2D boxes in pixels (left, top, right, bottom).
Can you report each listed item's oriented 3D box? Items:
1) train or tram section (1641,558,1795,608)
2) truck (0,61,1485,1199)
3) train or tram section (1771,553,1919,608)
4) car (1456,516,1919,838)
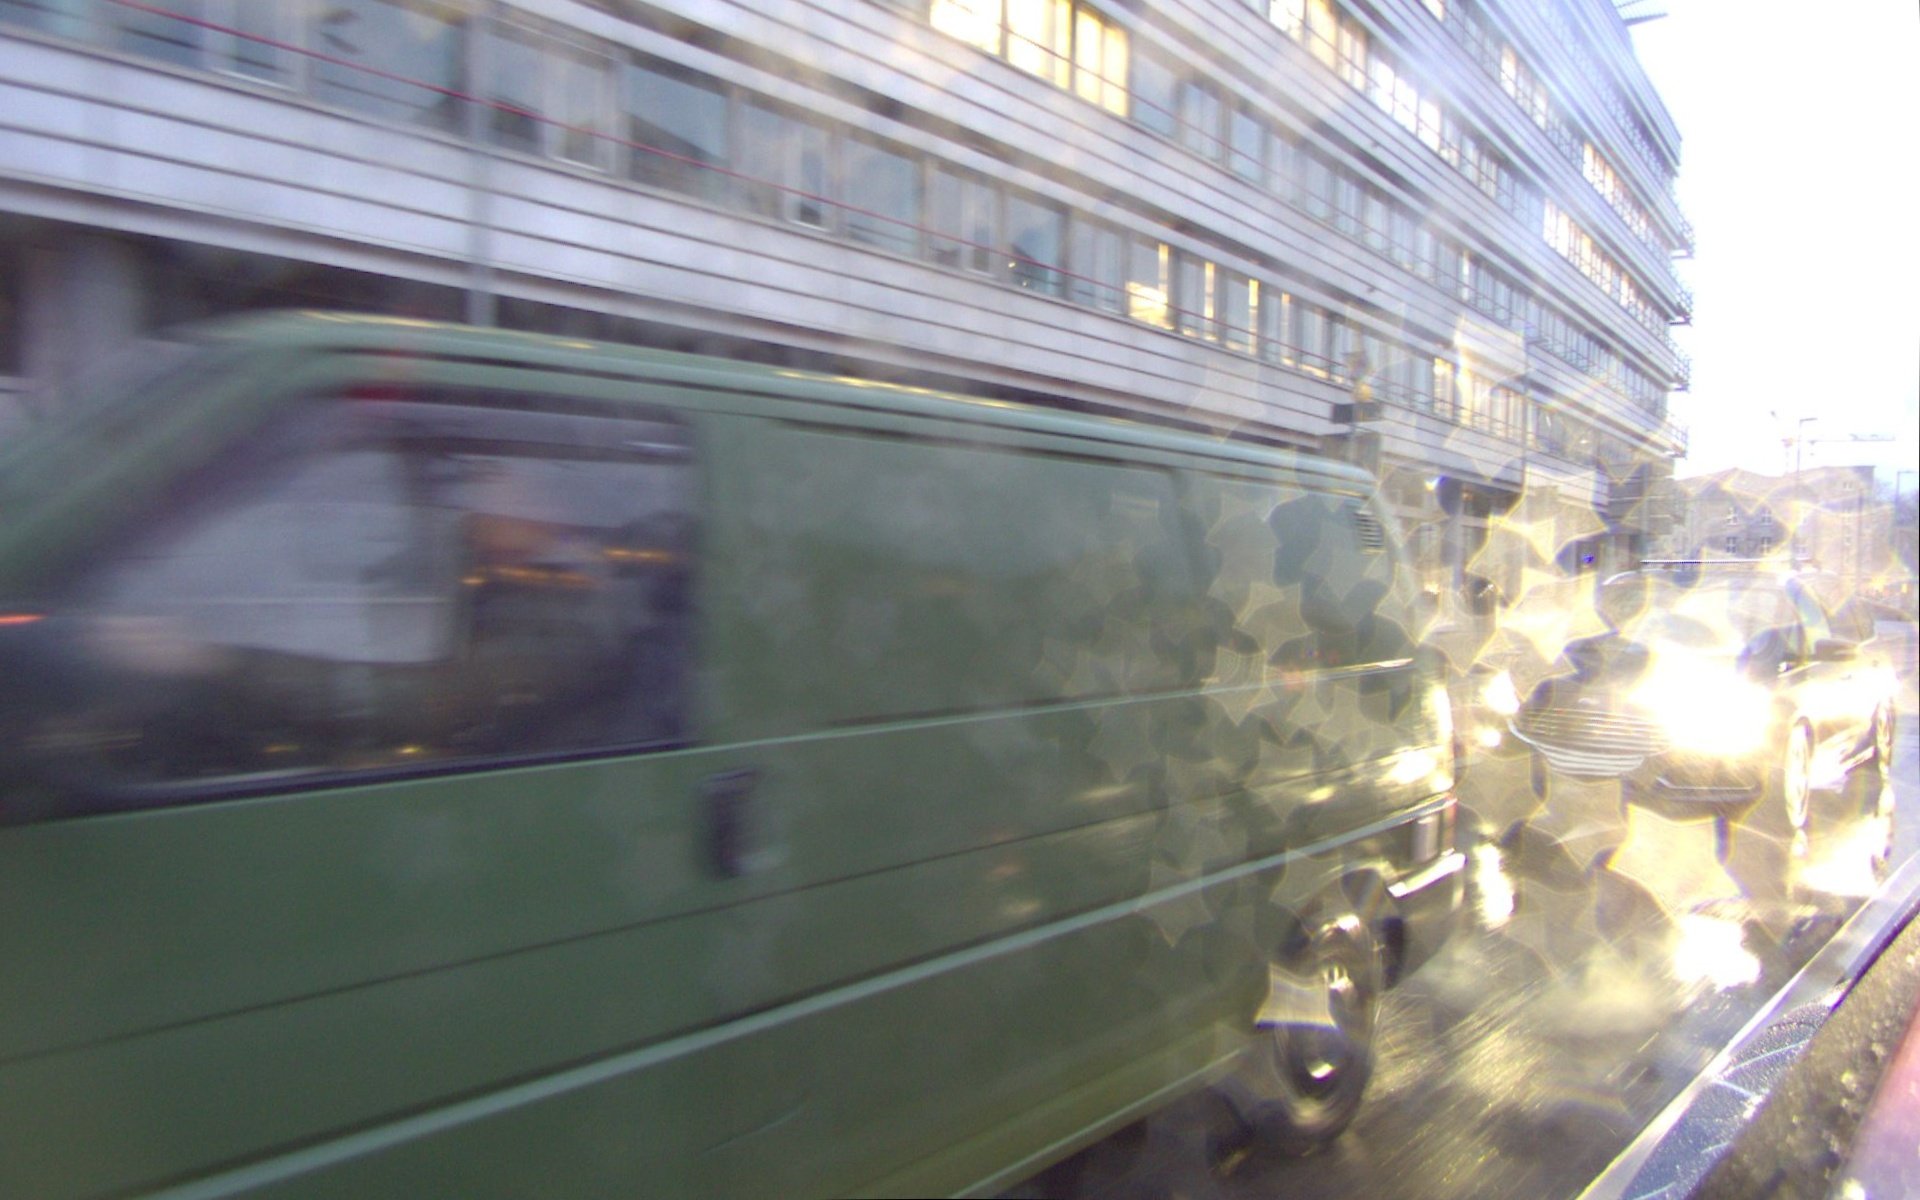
[{"bbox_3d":[80.871,-1.772,108.522,3.660,4.995,13.414,-1,1,-19],"label":"train or tram section"},{"bbox_3d":[-0.748,0.442,2.361,4.535,1.941,1.908,0,0,-40],"label":"truck"},{"bbox_3d":[86.017,-1.836,96.370,3.663,4.921,13.406,-1,1,-27],"label":"train or tram section"},{"bbox_3d":[5.941,0.419,8.001,4.605,1.842,1.908,0,0,-40],"label":"car"}]
